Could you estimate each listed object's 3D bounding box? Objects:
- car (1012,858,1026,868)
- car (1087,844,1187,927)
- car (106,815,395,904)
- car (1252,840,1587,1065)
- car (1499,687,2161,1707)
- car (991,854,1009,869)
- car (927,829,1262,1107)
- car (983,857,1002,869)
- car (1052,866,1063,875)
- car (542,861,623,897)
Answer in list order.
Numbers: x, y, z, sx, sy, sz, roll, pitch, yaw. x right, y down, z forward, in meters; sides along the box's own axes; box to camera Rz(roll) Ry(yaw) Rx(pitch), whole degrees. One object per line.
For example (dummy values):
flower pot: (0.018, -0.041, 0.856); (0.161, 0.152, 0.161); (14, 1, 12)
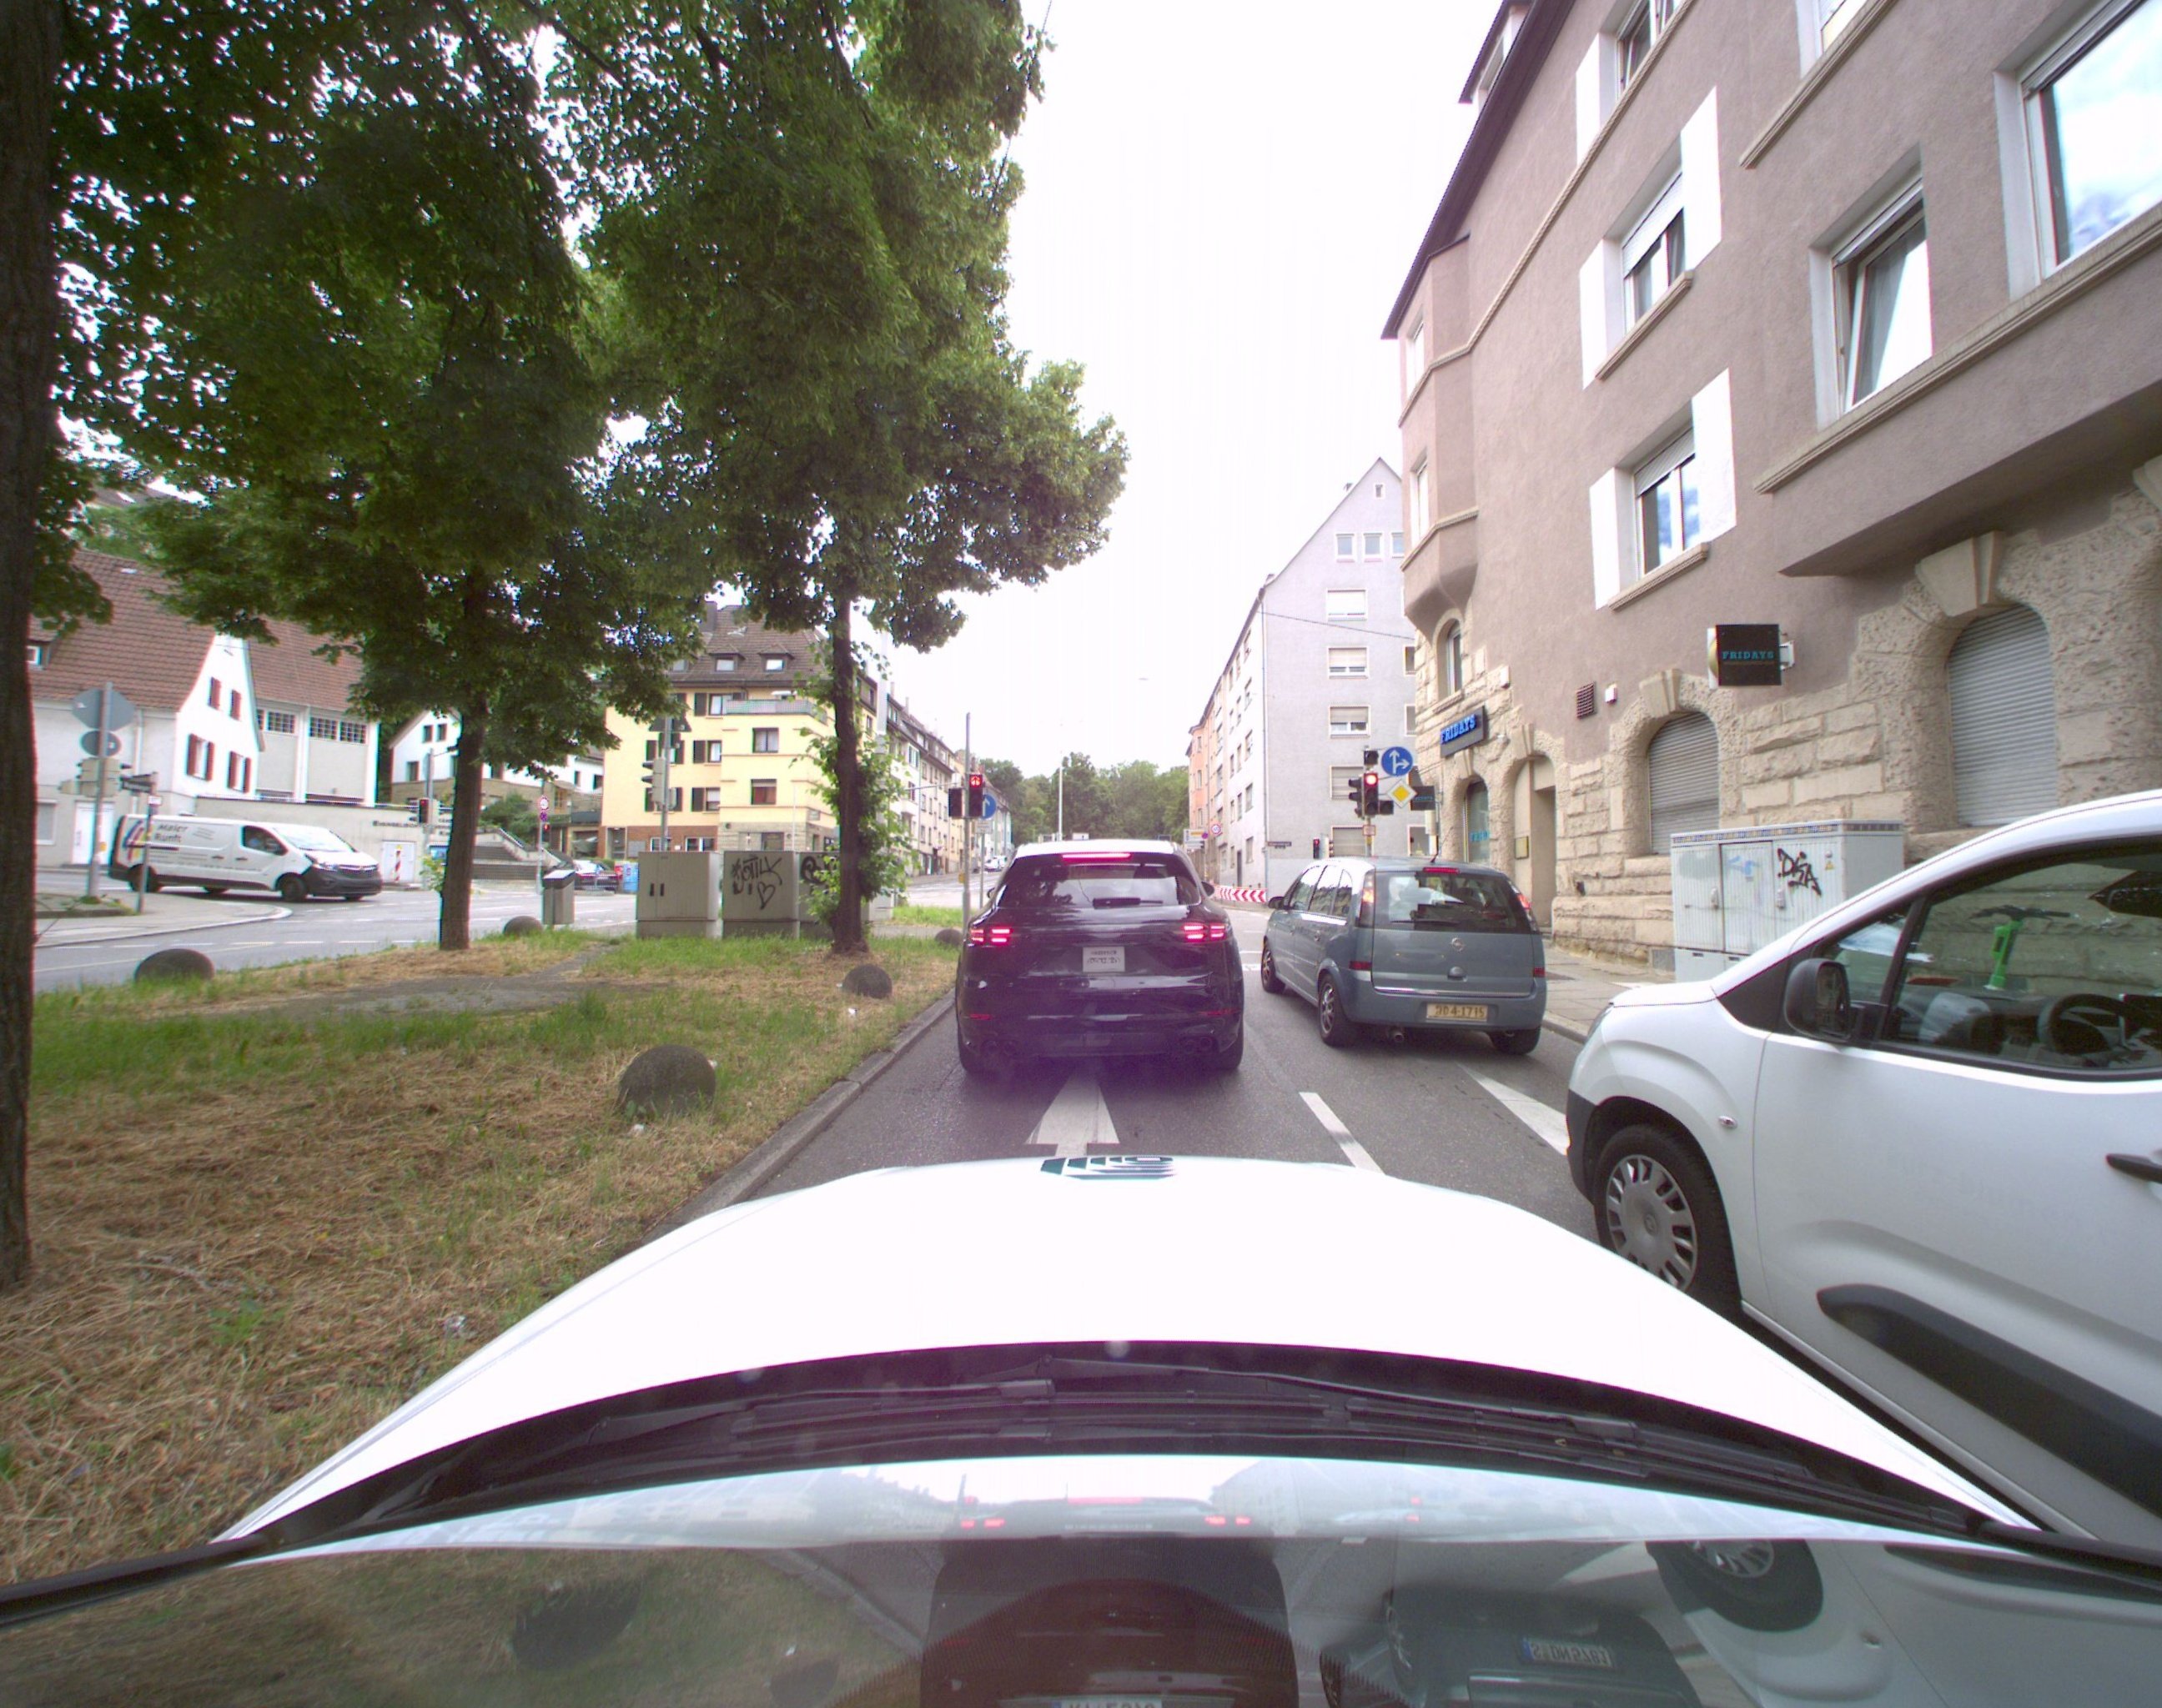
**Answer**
car: (-9.583, 1.359, 125.446); (1.787, 1.510, 4.001); (0, 0, 1)
car: (1.265, 0.662, 18.504); (1.986, 1.653, 4.004); (-1, -1, 4)
car: (-21.086, 0.147, 20.855); (5.153, 2.064, 1.994); (1, -1, -2)
car: (2.916, 0.747, 7.916); (1.746, 1.593, 3.631); (3, 0, 1)
car: (2.741, 0.656, 1.552); (1.840, 1.825, 5.029); (1, -2, 7)
car: (-10.282, 0.912, 104.065); (1.787, 1.810, 4.001); (0, 0, 1)
car: (0.202, 0.679, 6.891); (1.986, 1.653, 4.004); (-1, 0, 4)
car: (-10.702, 1.083, 99.046); (1.787, 1.510, 4.001); (0, 0, 1)
car: (-4.315, 3.022, 147.228); (1.788, 1.510, 4.000); (0, -2, 1)
car: (-23.802, 1.201, 38.839); (3.948, 1.665, 1.894); (-2, -2, 36)
